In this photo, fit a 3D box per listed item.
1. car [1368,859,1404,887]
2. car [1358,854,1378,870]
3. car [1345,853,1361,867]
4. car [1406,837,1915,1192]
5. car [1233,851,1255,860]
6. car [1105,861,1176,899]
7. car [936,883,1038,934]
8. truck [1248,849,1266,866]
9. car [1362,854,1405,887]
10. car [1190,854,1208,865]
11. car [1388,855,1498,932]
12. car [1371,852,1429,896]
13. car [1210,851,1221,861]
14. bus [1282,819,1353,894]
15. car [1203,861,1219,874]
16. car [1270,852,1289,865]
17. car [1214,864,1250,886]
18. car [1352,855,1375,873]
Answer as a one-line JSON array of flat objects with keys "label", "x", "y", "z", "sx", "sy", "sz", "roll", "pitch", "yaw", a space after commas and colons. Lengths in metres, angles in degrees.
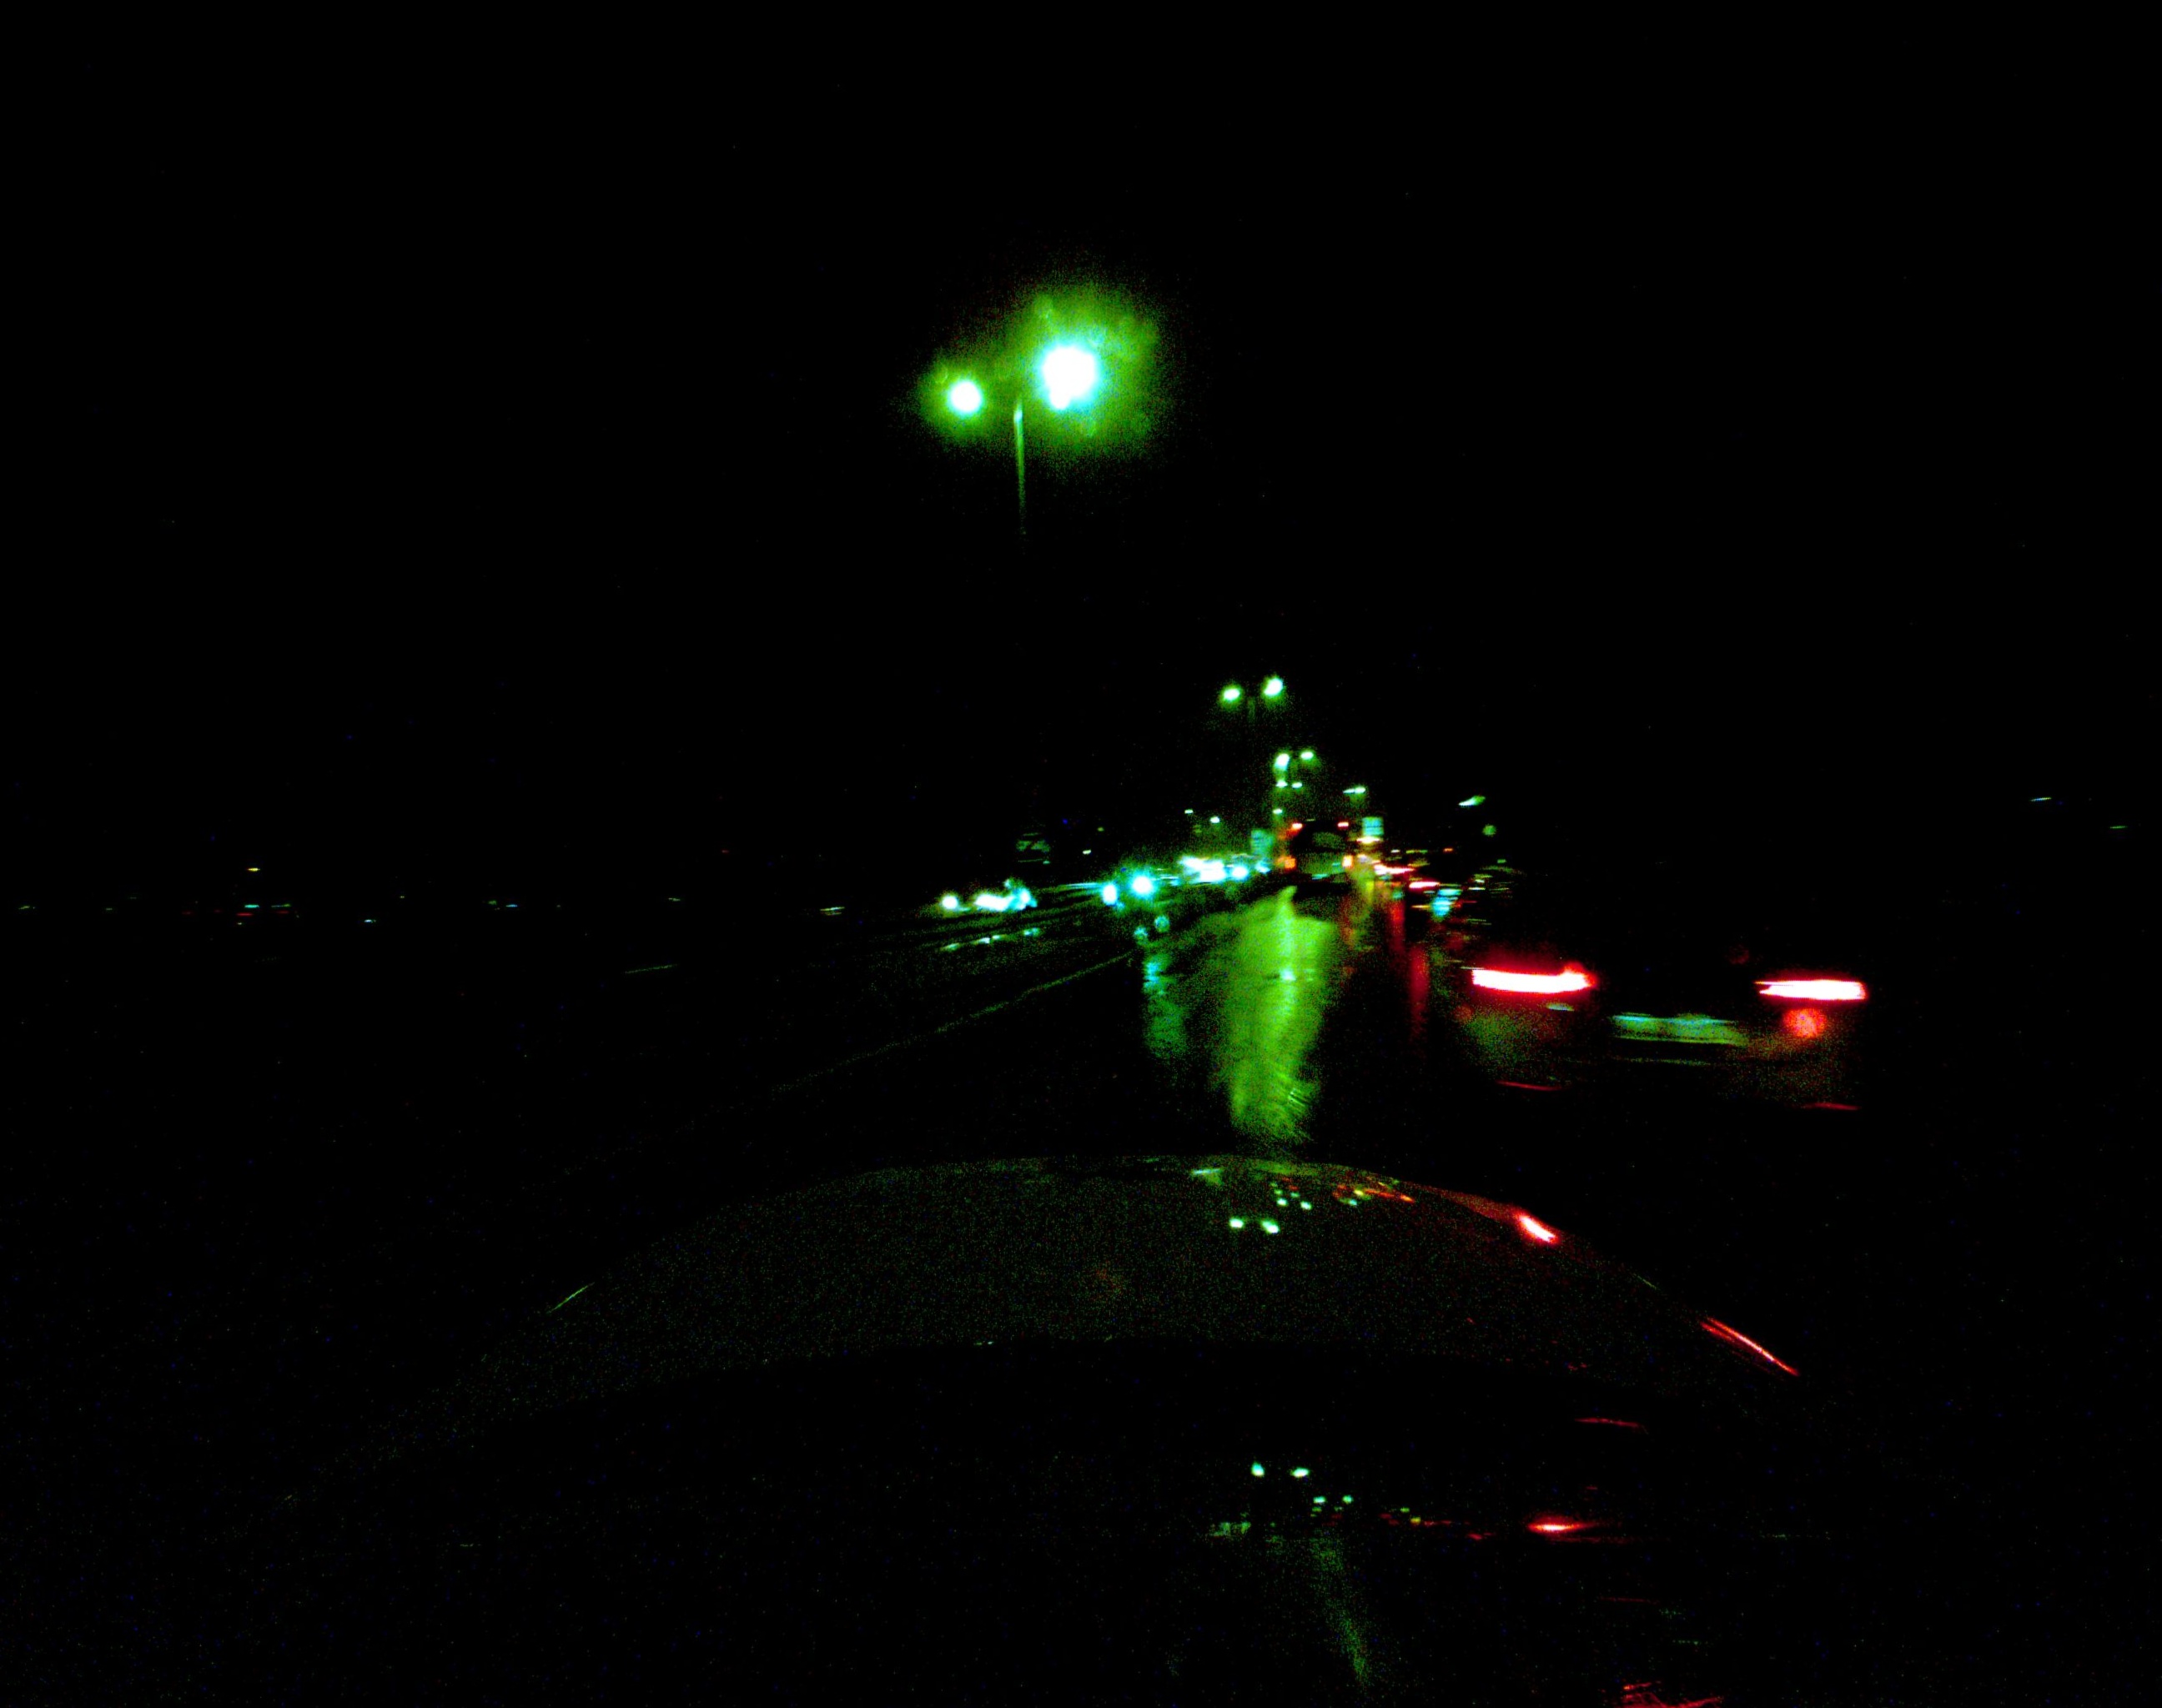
[{"label": "car", "x": 18.805, "y": 1.161, "z": 50.346, "sx": 1.805, "sy": 1.590, "sz": 3.793, "roll": -3, "pitch": -1, "yaw": 17}, {"label": "car", "x": 30.321, "y": 0.807, "z": 86.126, "sx": 1.805, "sy": 1.590, "sz": 3.794, "roll": -3, "pitch": -1, "yaw": 17}, {"label": "car", "x": 34.029, "y": 0.773, "z": 101.973, "sx": 1.805, "sy": 1.590, "sz": 3.794, "roll": -3, "pitch": -1, "yaw": 17}, {"label": "car", "x": 3.411, "y": 0.706, "z": 5.877, "sx": 1.806, "sy": 1.484, "sz": 4.591, "roll": -2, "pitch": -1, "yaw": 20}, {"label": "car", "x": 29.022, "y": 0.257, "z": 145.280, "sx": 2.000, "sy": 1.686, "sz": 3.973, "roll": 0, "pitch": 1, "yaw": -20}, {"label": "car", "x": 2.519, "y": 1.026, "z": 33.375, "sx": 1.597, "sy": 1.382, "sz": 4.770, "roll": -2, "pitch": -1, "yaw": 20}, {"label": "car", "x": -3.062, "y": 1.789, "z": 27.504, "sx": 1.597, "sy": 1.382, "sz": 4.185, "roll": -5, "pitch": -2, "yaw": 20}, {"label": "truck", "x": 28.804, "y": 0.544, "z": 133.412, "sx": 1.850, "sy": 2.393, "sz": 4.779, "roll": -4, "pitch": 2, "yaw": 0}, {"label": "car", "x": 15.779, "y": 0.851, "z": 42.617, "sx": 1.805, "sy": 1.590, "sz": 3.793, "roll": -3, "pitch": -1, "yaw": 17}, {"label": "car", "x": 23.639, "y": 1.076, "z": 163.498, "sx": 1.998, "sy": 2.014, "sz": 3.976, "roll": 0, "pitch": -1, "yaw": -17}, {"label": "car", "x": 7.771, "y": 0.777, "z": 17.864, "sx": 1.717, "sy": 1.449, "sz": 4.747, "roll": -1, "pitch": -1, "yaw": 18}, {"label": "car", "x": 12.111, "y": 0.728, "z": 31.120, "sx": 1.726, "sy": 1.565, "sz": 3.793, "roll": -1, "pitch": -1, "yaw": 17}, {"label": "car", "x": 27.790, "y": 0.376, "z": 168.033, "sx": 2.110, "sy": 2.014, "sz": 4.008, "roll": -1, "pitch": -1, "yaw": 7}, {"label": "bus", "x": 11.223, "y": 0.132, "z": 38.136, "sx": 2.793, "sy": 3.024, "sz": 8.727, "roll": -2, "pitch": -1, "yaw": 18}, {"label": "car", "x": 19.515, "y": 2.011, "z": 122.154, "sx": 1.979, "sy": 2.014, "sz": 4.015, "roll": -1, "pitch": -1, "yaw": 14}, {"label": "car", "x": 31.889, "y": 0.668, "z": 130.852, "sx": 1.988, "sy": 2.014, "sz": 3.997, "roll": -1, "pitch": -1, "yaw": -1}, {"label": "car", "x": 11.375, "y": 1.572, "z": 61.064, "sx": 1.840, "sy": 1.476, "sz": 4.802, "roll": -3, "pitch": -1, "yaw": 19}, {"label": "car", "x": 24.889, "y": 0.847, "z": 71.831, "sx": 1.765, "sy": 1.543, "sz": 3.893, "roll": -1, "pitch": -1, "yaw": 18}]
